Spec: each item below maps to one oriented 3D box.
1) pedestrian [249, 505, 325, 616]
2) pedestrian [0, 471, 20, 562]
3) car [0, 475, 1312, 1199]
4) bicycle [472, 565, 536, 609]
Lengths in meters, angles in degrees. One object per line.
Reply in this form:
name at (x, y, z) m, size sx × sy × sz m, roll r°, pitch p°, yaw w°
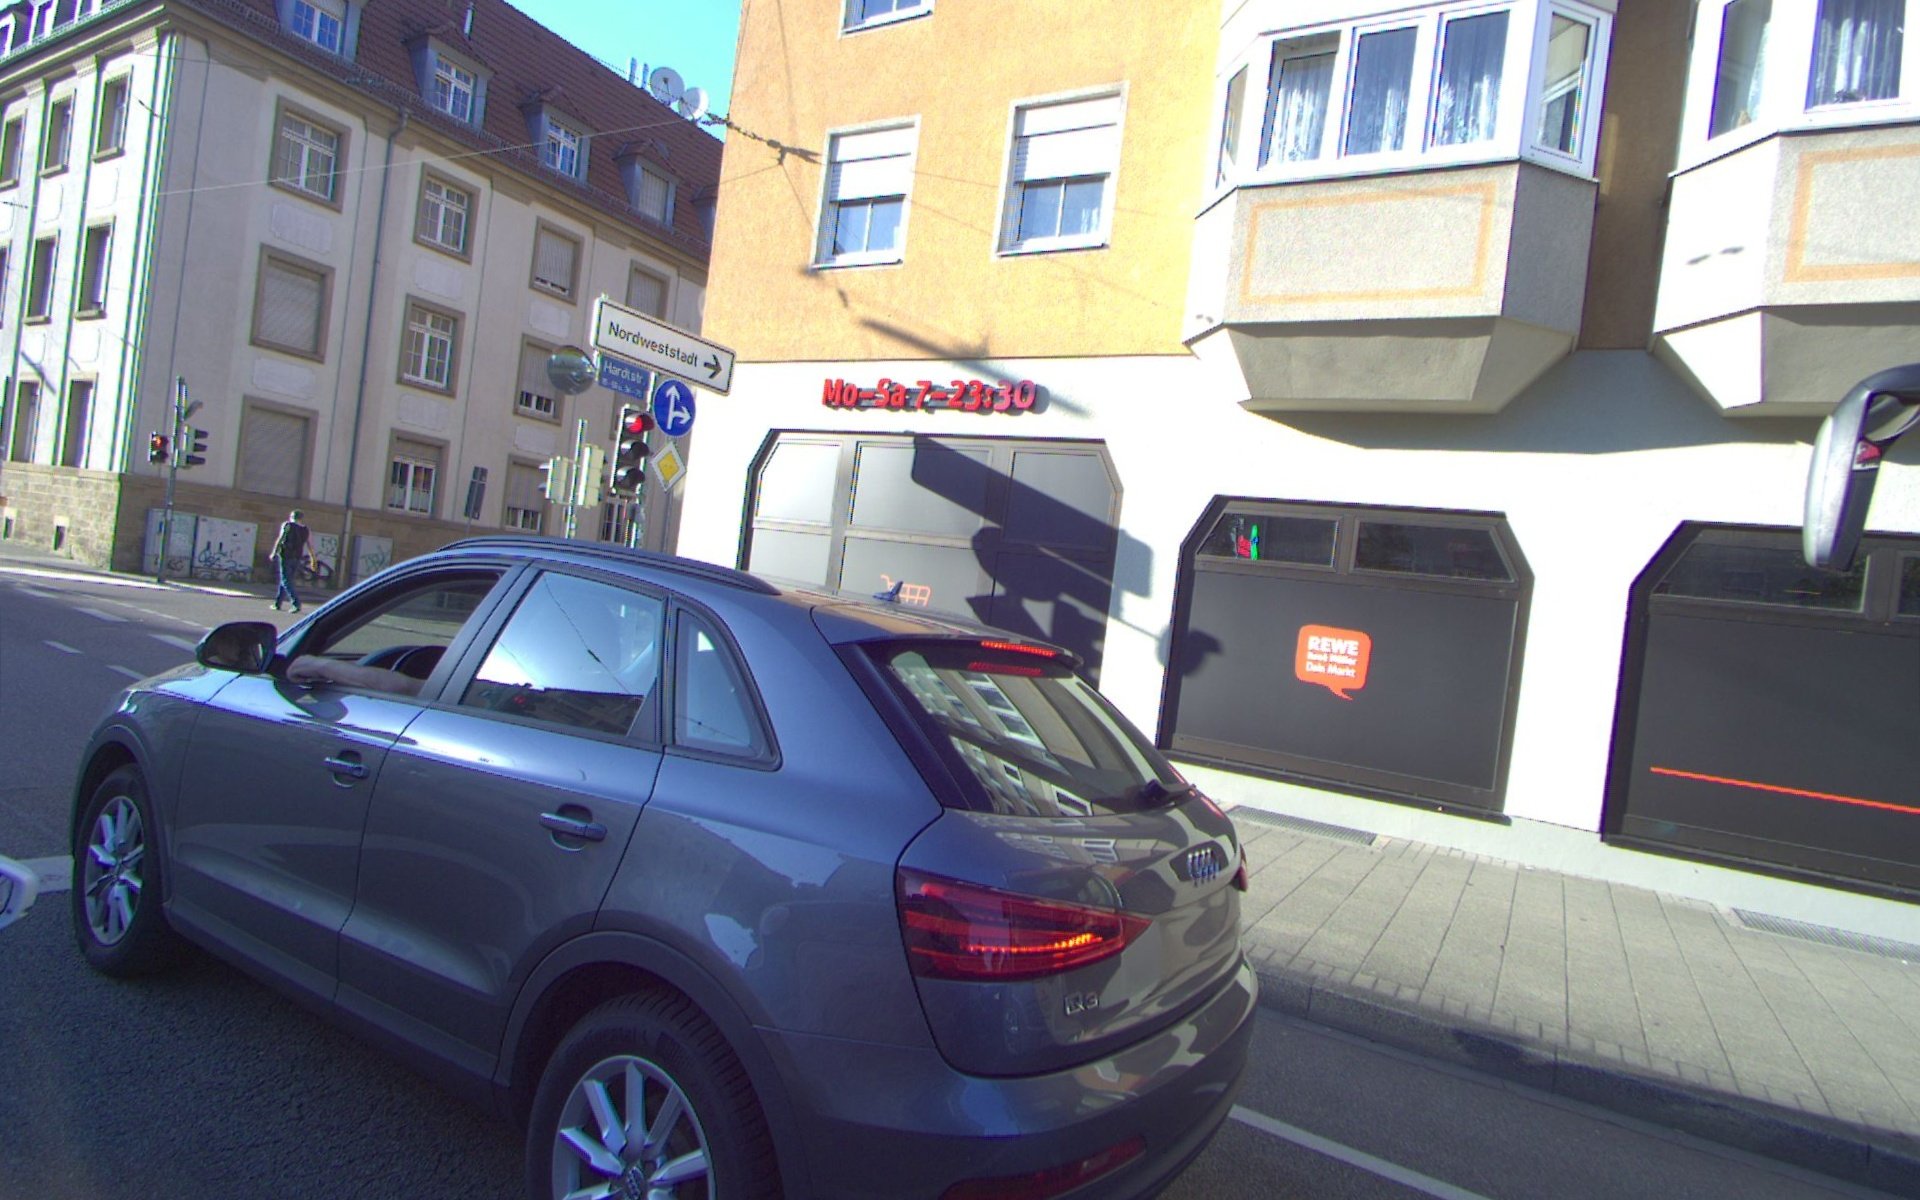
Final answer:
pedestrian at (-11.587, -0.677, 17.331) m, size 0.812 × 1.778 × 0.630 m, roll 6°, pitch -1°, yaw 32°
pedestrian at (-19.607, -1.720, 20.111) m, size 0.810 × 1.783 × 0.837 m, roll 6°, pitch -1°, yaw 31°
car at (-1.260, 0.615, 3.297) m, size 4.155 × 1.571 × 1.701 m, roll 7°, pitch -1°, yaw 32°
bicycle at (-12.587, -0.344, 27.798) m, size 1.499 × 1.029 × 0.247 m, roll 9°, pitch -2°, yaw -43°
